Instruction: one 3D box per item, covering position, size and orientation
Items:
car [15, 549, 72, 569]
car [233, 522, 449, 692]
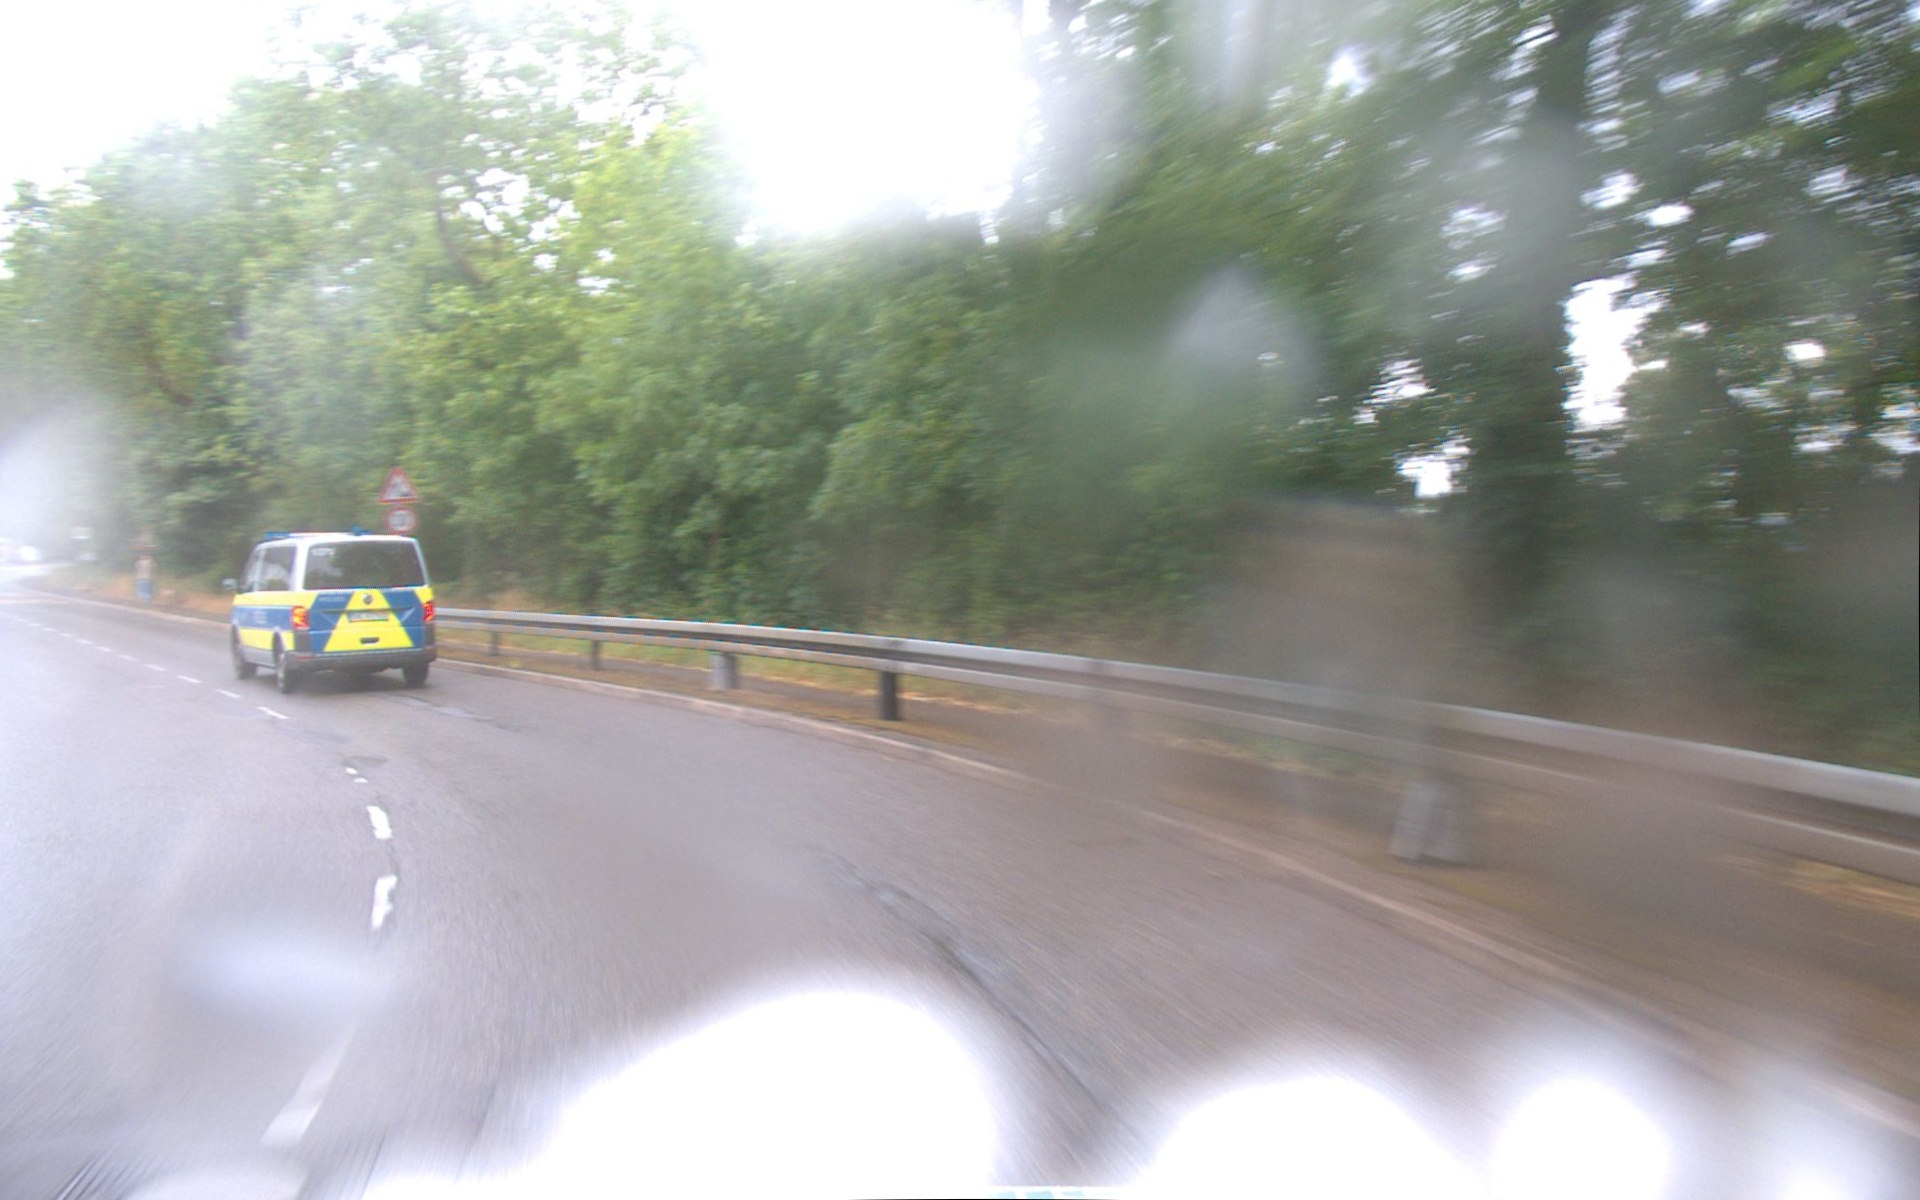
[{"bbox_3d":[-80.141,-3.590,144.644,3.909,1.512,1.758,2,-1,-5],"label":"car"},{"bbox_3d":[-8.480,0.059,22.418,1.974,2.049,4.355,-1,1,-31],"label":"car"}]
